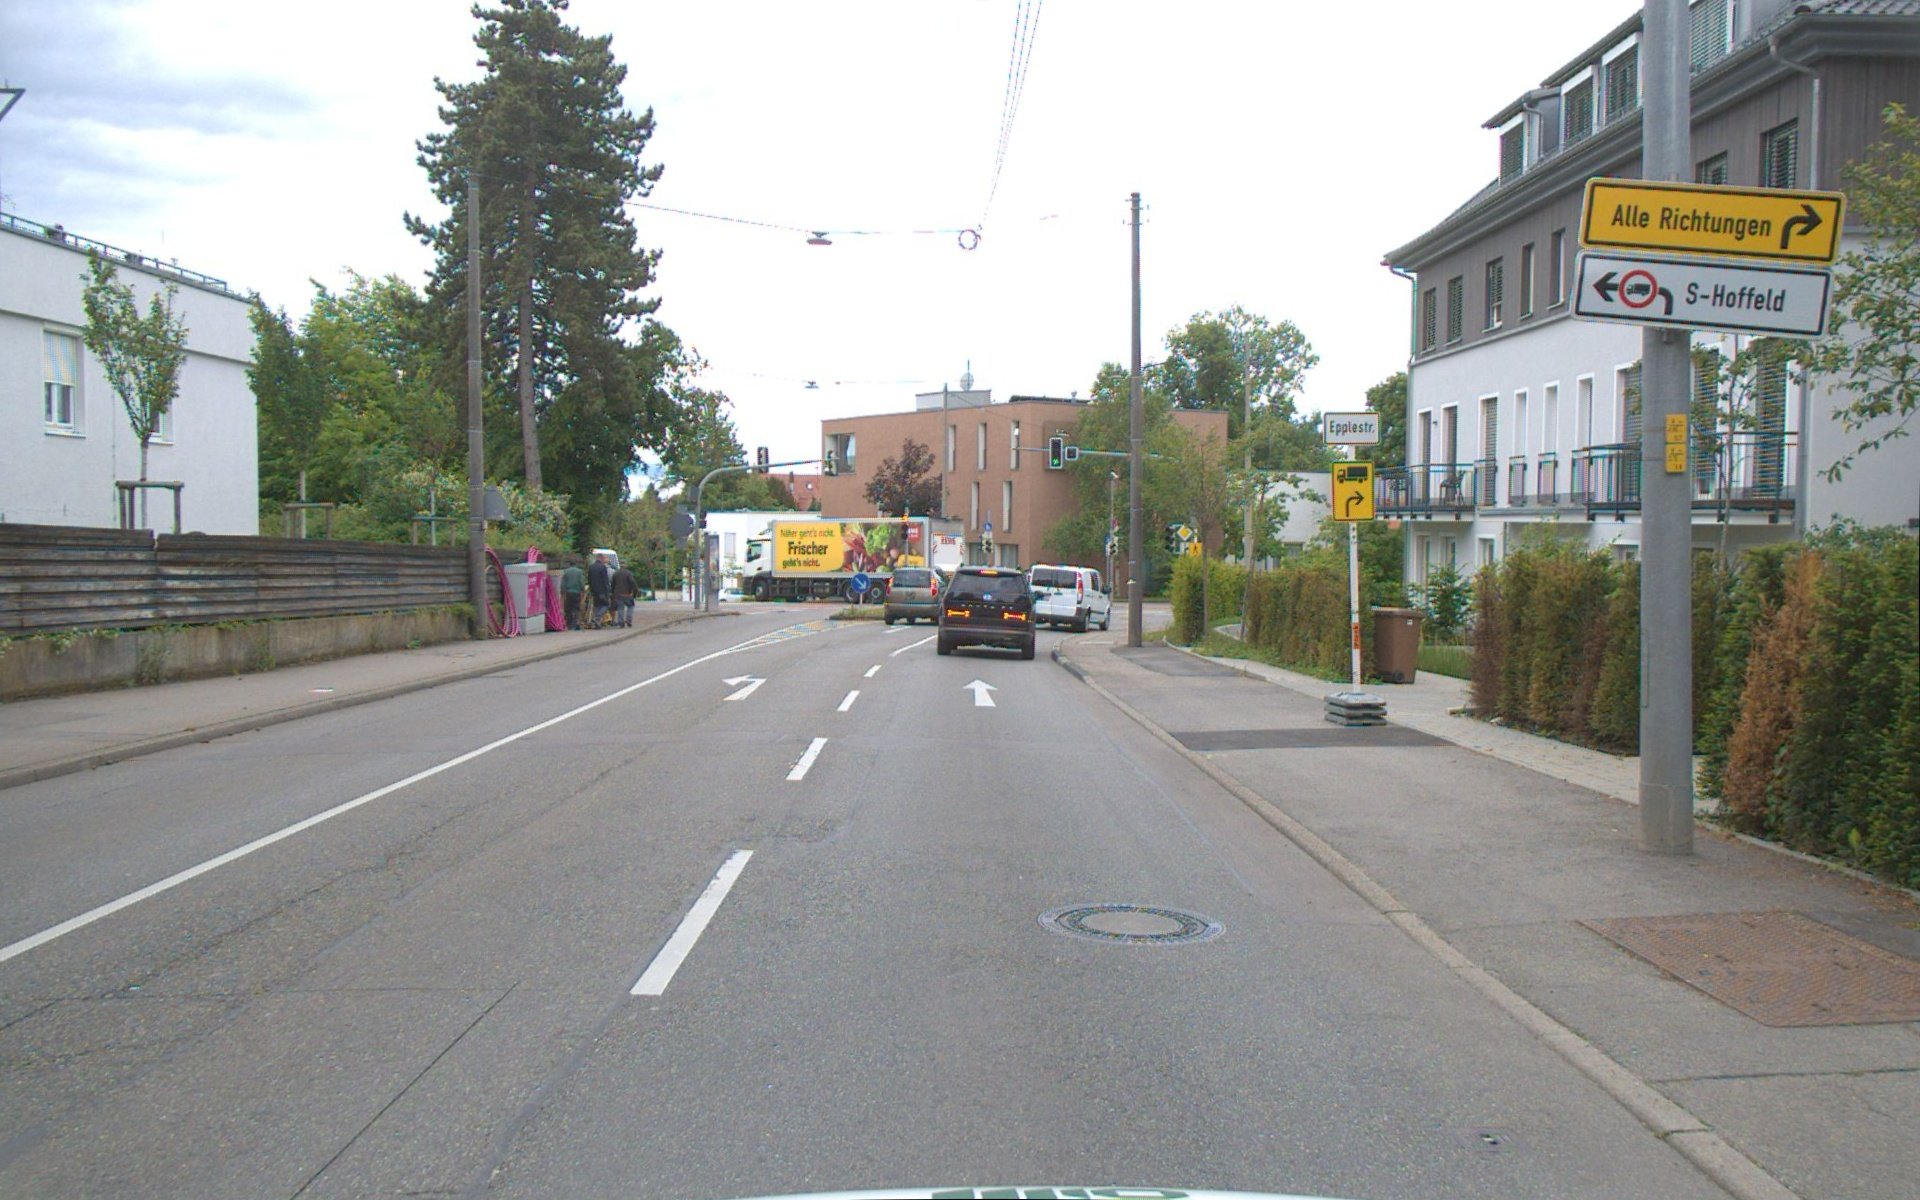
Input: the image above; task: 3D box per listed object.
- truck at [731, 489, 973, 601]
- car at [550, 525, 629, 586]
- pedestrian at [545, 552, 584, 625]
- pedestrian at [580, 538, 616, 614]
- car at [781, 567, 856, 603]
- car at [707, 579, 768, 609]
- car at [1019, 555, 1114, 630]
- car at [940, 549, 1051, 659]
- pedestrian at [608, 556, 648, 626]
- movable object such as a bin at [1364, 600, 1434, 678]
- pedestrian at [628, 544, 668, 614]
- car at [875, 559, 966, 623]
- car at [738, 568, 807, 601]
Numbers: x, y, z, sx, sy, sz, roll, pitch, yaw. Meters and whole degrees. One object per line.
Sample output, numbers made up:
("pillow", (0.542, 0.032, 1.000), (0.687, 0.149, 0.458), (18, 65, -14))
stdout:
("truck", (-5.076, -2.521, 75.526), (11.551, 4.817, 3.126), (2, 1, 34))
("car", (-14.670, -1.740, 65.191), (2.246, 2.266, 6.435), (0, 1, -20))
("pedestrian", (-9.783, -0.287, 40.880), (0.804, 1.794, 0.861), (0, 1, -23))
("pedestrian", (-9.011, -0.599, 41.159), (0.742, 1.869, 0.608), (0, 1, -30))
("car", (-8.390, -0.888, 98.039), (3.943, 2.048, 1.981), (0, 1, -29))
("car", (-15.507, -0.406, 115.097), (3.924, 2.048, 1.991), (0, 1, -17))
("car", (3.301, -0.279, 50.217), (1.921, 2.048, 4.432), (4, 3, 15))
("car", (0.630, 0.040, 32.485), (1.953, 1.914, 4.000), (3, 1, -1))
("pedestrian", (-8.521, -0.237, 42.442), (0.683, 1.764, 0.747), (1, 1, 44))
("movable object such as a bin", (6.367, 0.568, 23.984), (0.709, 1.092, 0.673), (2, 0, -38))
("pedestrian", (-8.064, -0.542, 42.715), (0.858, 1.784, 0.689), (1, 1, -24))
("car", (-1.107, -0.279, 47.979), (1.853, 1.735, 4.004), (1, 1, 10))
("car", (-11.930, -1.024, 105.004), (3.942, 2.048, 1.982), (-1, 1, -29))
